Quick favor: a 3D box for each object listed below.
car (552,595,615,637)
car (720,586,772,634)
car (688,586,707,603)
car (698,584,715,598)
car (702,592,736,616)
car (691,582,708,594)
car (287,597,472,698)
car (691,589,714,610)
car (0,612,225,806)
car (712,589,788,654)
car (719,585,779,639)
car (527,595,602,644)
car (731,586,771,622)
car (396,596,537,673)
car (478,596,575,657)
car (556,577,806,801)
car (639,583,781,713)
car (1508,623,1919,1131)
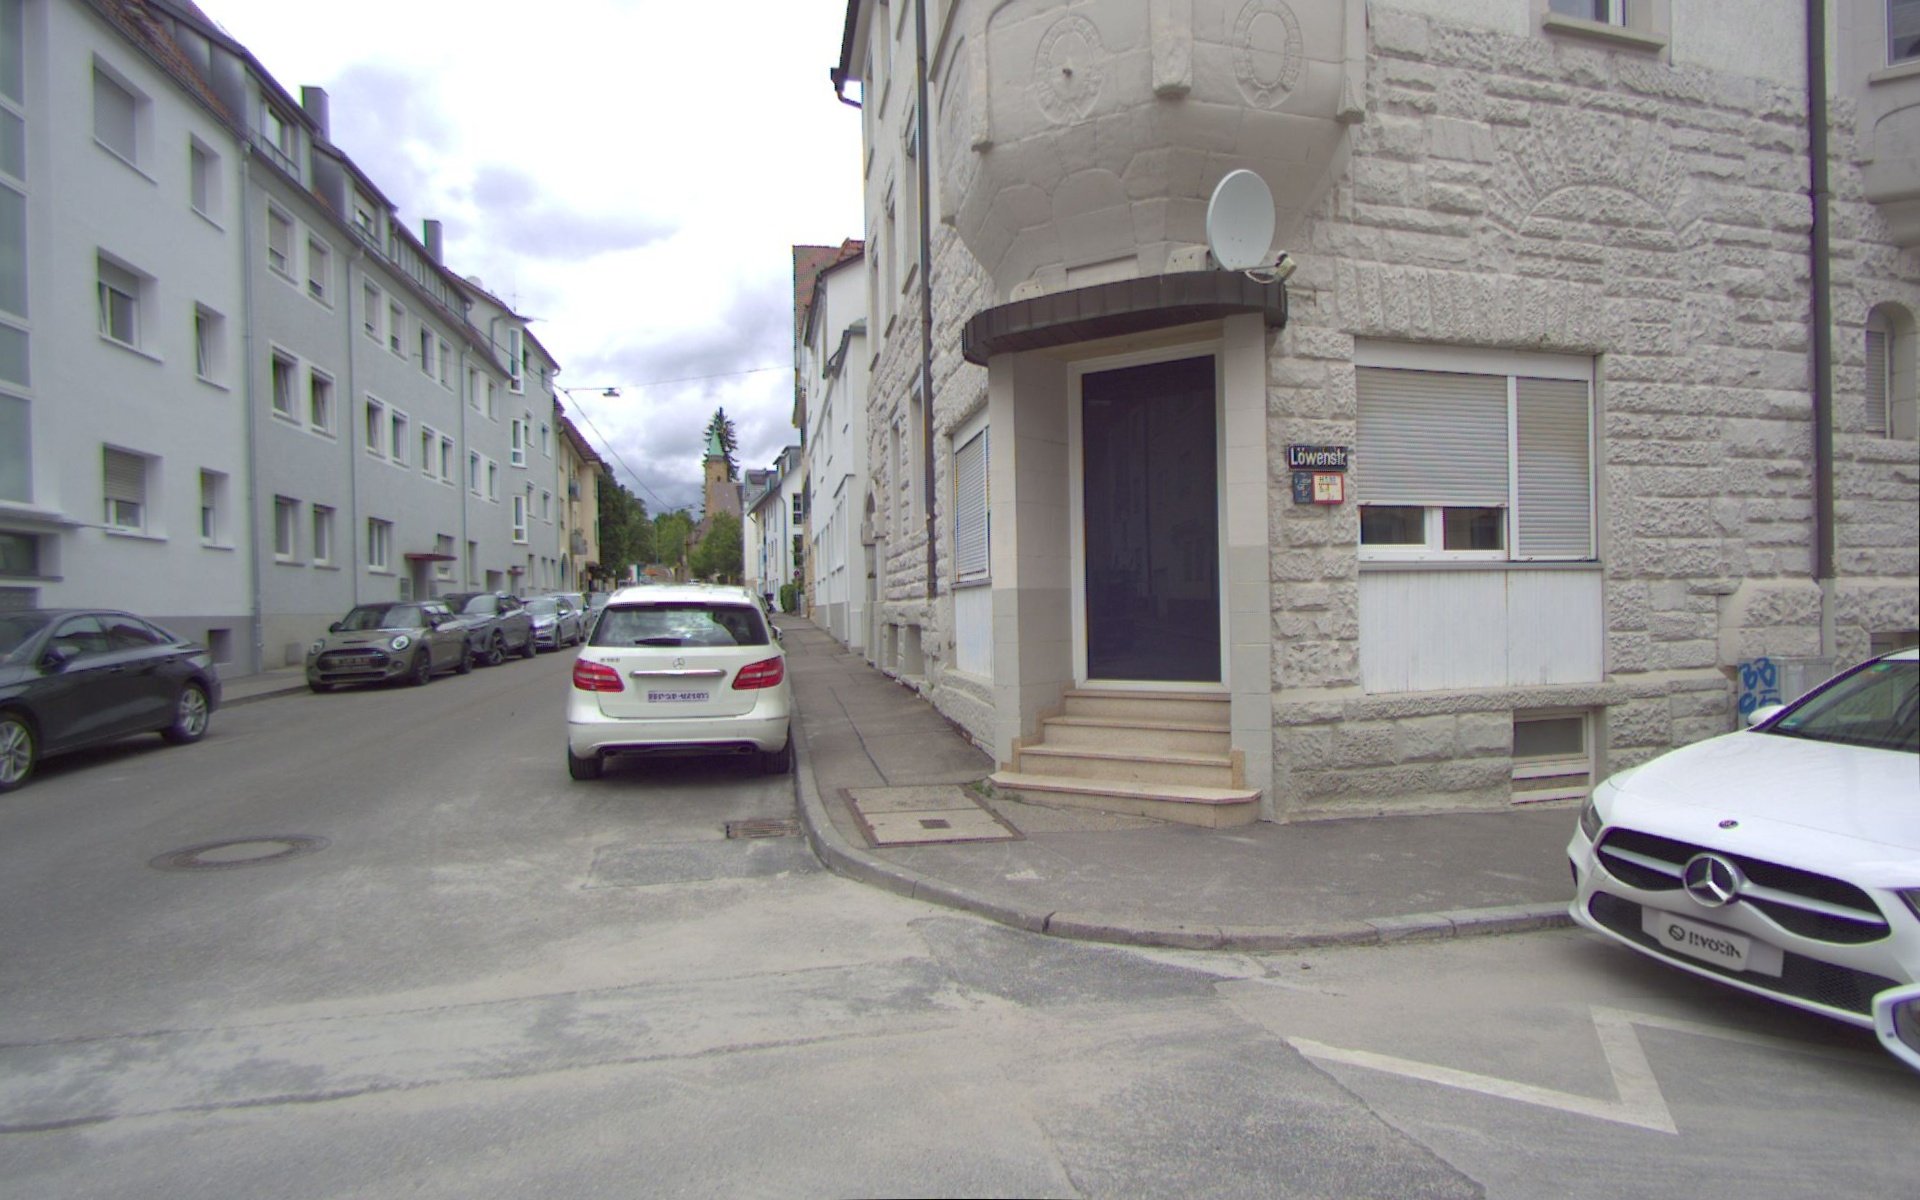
[{"bbox_3d":[-14.416,0.567,38.646,1.706,1.467,3.710,-1,1,-12],"label":"car"},{"bbox_3d":[-7.343,0.309,34.298,1.644,1.499,3.616,1,1,-13],"label":"car"},{"bbox_3d":[-24.077,-0.506,92.248,1.644,1.499,3.616,0,1,-13],"label":"car"},{"bbox_3d":[-26.200,-0.942,103.784,1.644,1.499,3.616,0,1,-13],"label":"car"},{"bbox_3d":[-15.839,0.244,65.985,1.763,1.499,3.608,0,1,-20],"label":"car"},{"bbox_3d":[-36.615,-1.685,141.271,2.155,1.716,3.611,0,1,-18],"label":"car"},{"bbox_3d":[-9.937,0.726,17.519,1.706,1.509,3.710,-1,1,-12],"label":"car"},{"bbox_3d":[-19.516,-0.071,76.213,1.644,1.499,3.616,0,1,-13],"label":"car"},{"bbox_3d":[-8.461,0.872,8.668,1.794,1.410,4.287,-1,1,-12],"label":"car"},{"bbox_3d":[-5.174,0.478,24.566,1.644,1.403,4.016,1,1,-13],"label":"car"},{"bbox_3d":[-6.408,0.327,30.327,1.644,1.499,3.616,1,1,-13],"label":"car"},{"bbox_3d":[-12.981,0.600,33.170,1.706,1.467,3.710,-1,1,-12],"label":"car"},{"bbox_3d":[-9.401,0.159,44.962,1.644,1.499,3.616,1,1,-13],"label":"car"},{"bbox_3d":[-10.775,0.688,22.215,1.704,1.489,3.713,-1,1,-8],"label":"car"},{"bbox_3d":[-11.696,0.661,27.310,1.706,1.467,3.710,-1,1,-12],"label":"car"},{"bbox_3d":[-2.506,0.633,9.426,1.795,1.621,4.016,0,0,-13],"label":"car"},{"bbox_3d":[-3.488,0.565,14.163,1.644,1.553,4.016,1,1,-13],"label":"car"},{"bbox_3d":[4.551,0.861,4.101,4.175,1.433,1.697,2,-1,-19],"label":"car"}]
